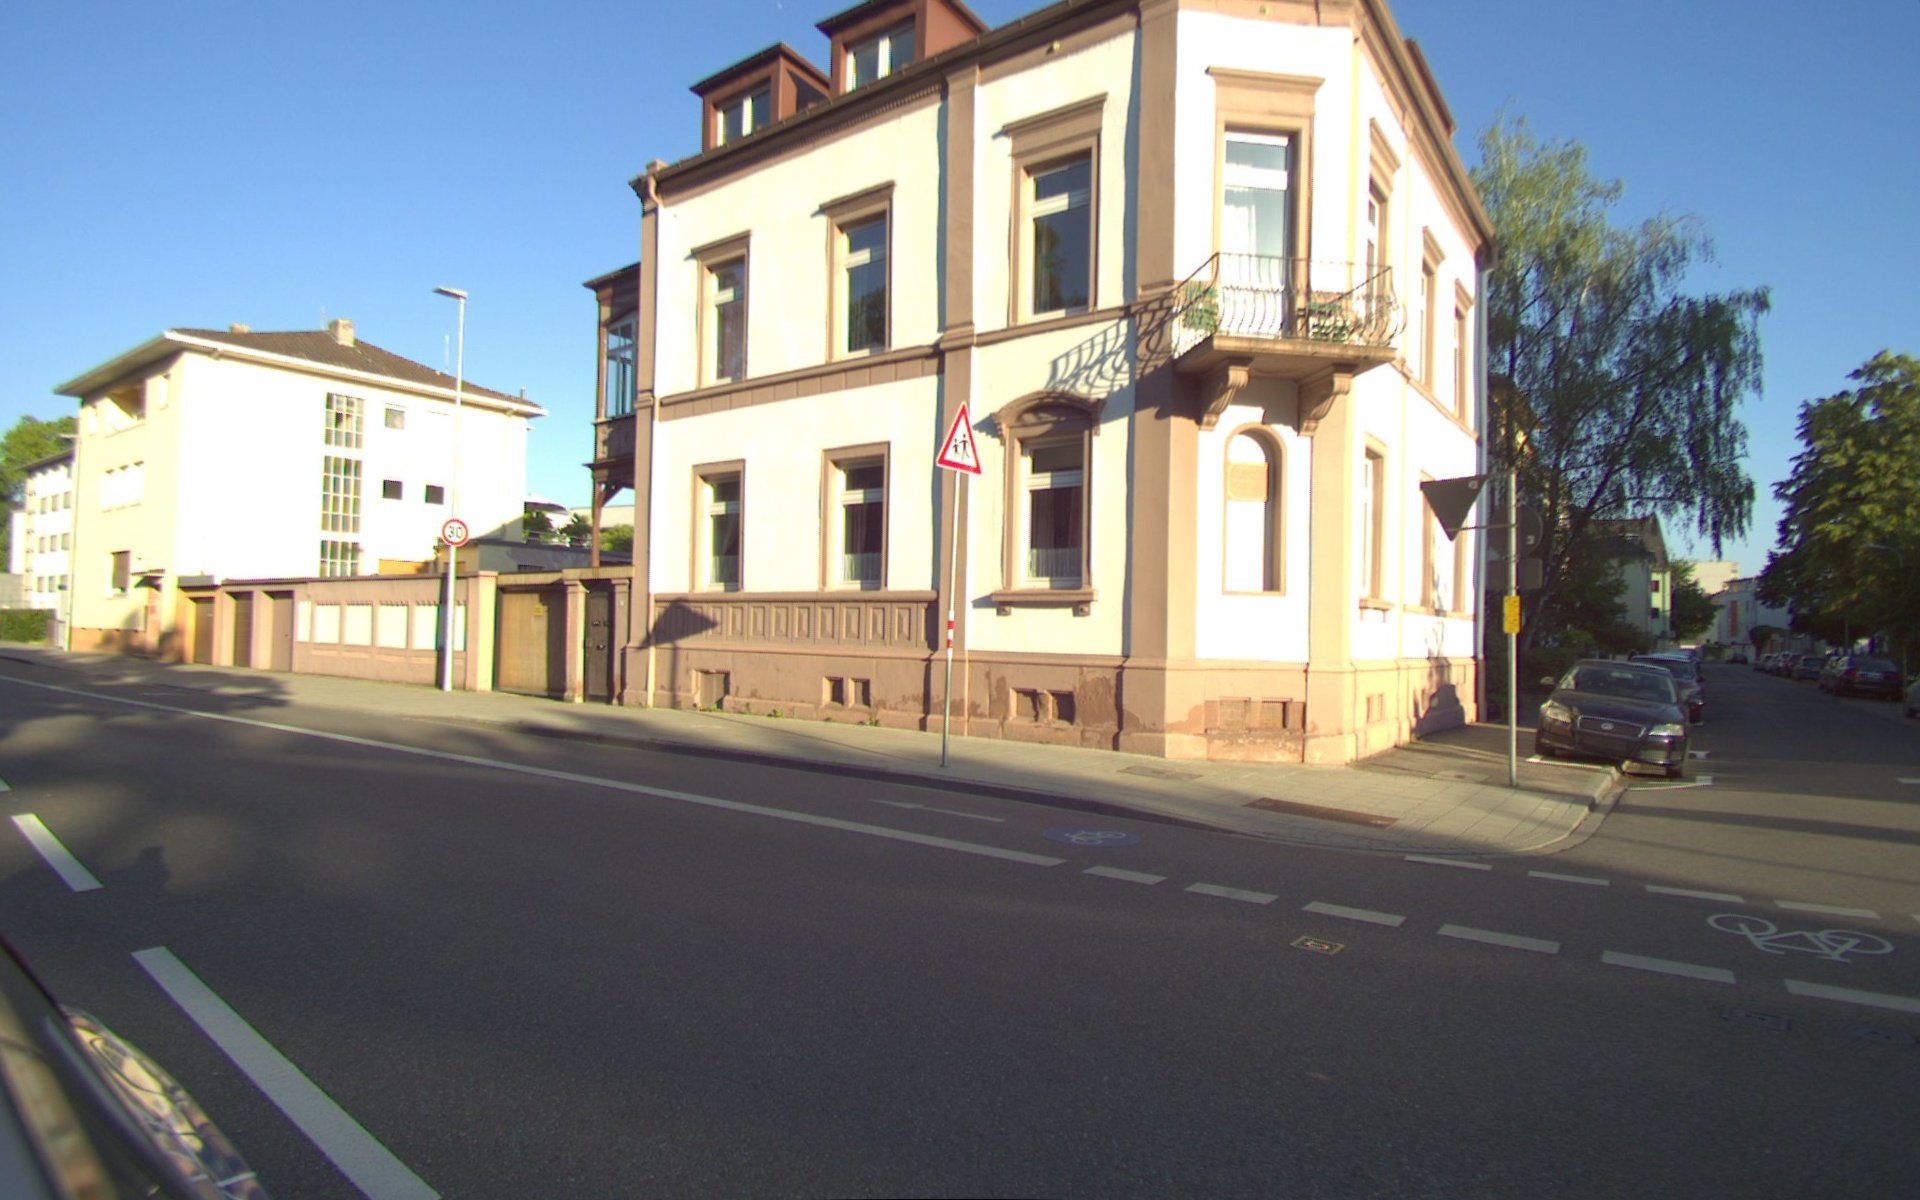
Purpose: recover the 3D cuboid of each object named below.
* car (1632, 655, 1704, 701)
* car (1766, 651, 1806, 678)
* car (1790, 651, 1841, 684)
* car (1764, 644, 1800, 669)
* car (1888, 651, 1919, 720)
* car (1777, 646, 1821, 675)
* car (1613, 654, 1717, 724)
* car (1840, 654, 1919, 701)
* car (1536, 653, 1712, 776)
[{"bbox_3d":[24.654,2.676,35.350,1.899,1.449,3.874,0,-3,33],"label":"car"},{"bbox_3d":[53.380,4.167,65.449,1.893,1.652,3.694,-1,-3,38],"label":"car"},{"bbox_3d":[45.843,3.604,54.316,1.893,1.652,3.694,-1,-3,38],"label":"car"},{"bbox_3d":[58.576,4.014,72.157,1.893,1.652,3.694,-1,-3,38],"label":"car"},{"bbox_3d":[23.900,2.123,24.434,1.752,1.568,3.868,5,1,38],"label":"car"},{"bbox_3d":[50.205,3.612,60.603,1.893,1.652,3.694,-1,-3,38],"label":"car"},{"bbox_3d":[16.872,2.056,24.279,1.900,1.449,3.872,0,-2,35],"label":"car"},{"bbox_3d":[33.153,2.752,36.512,1.893,1.548,3.694,-1,-3,38],"label":"car"},{"bbox_3d":[9.640,1.531,14.706,1.900,1.449,3.872,0,-2,35],"label":"car"}]
